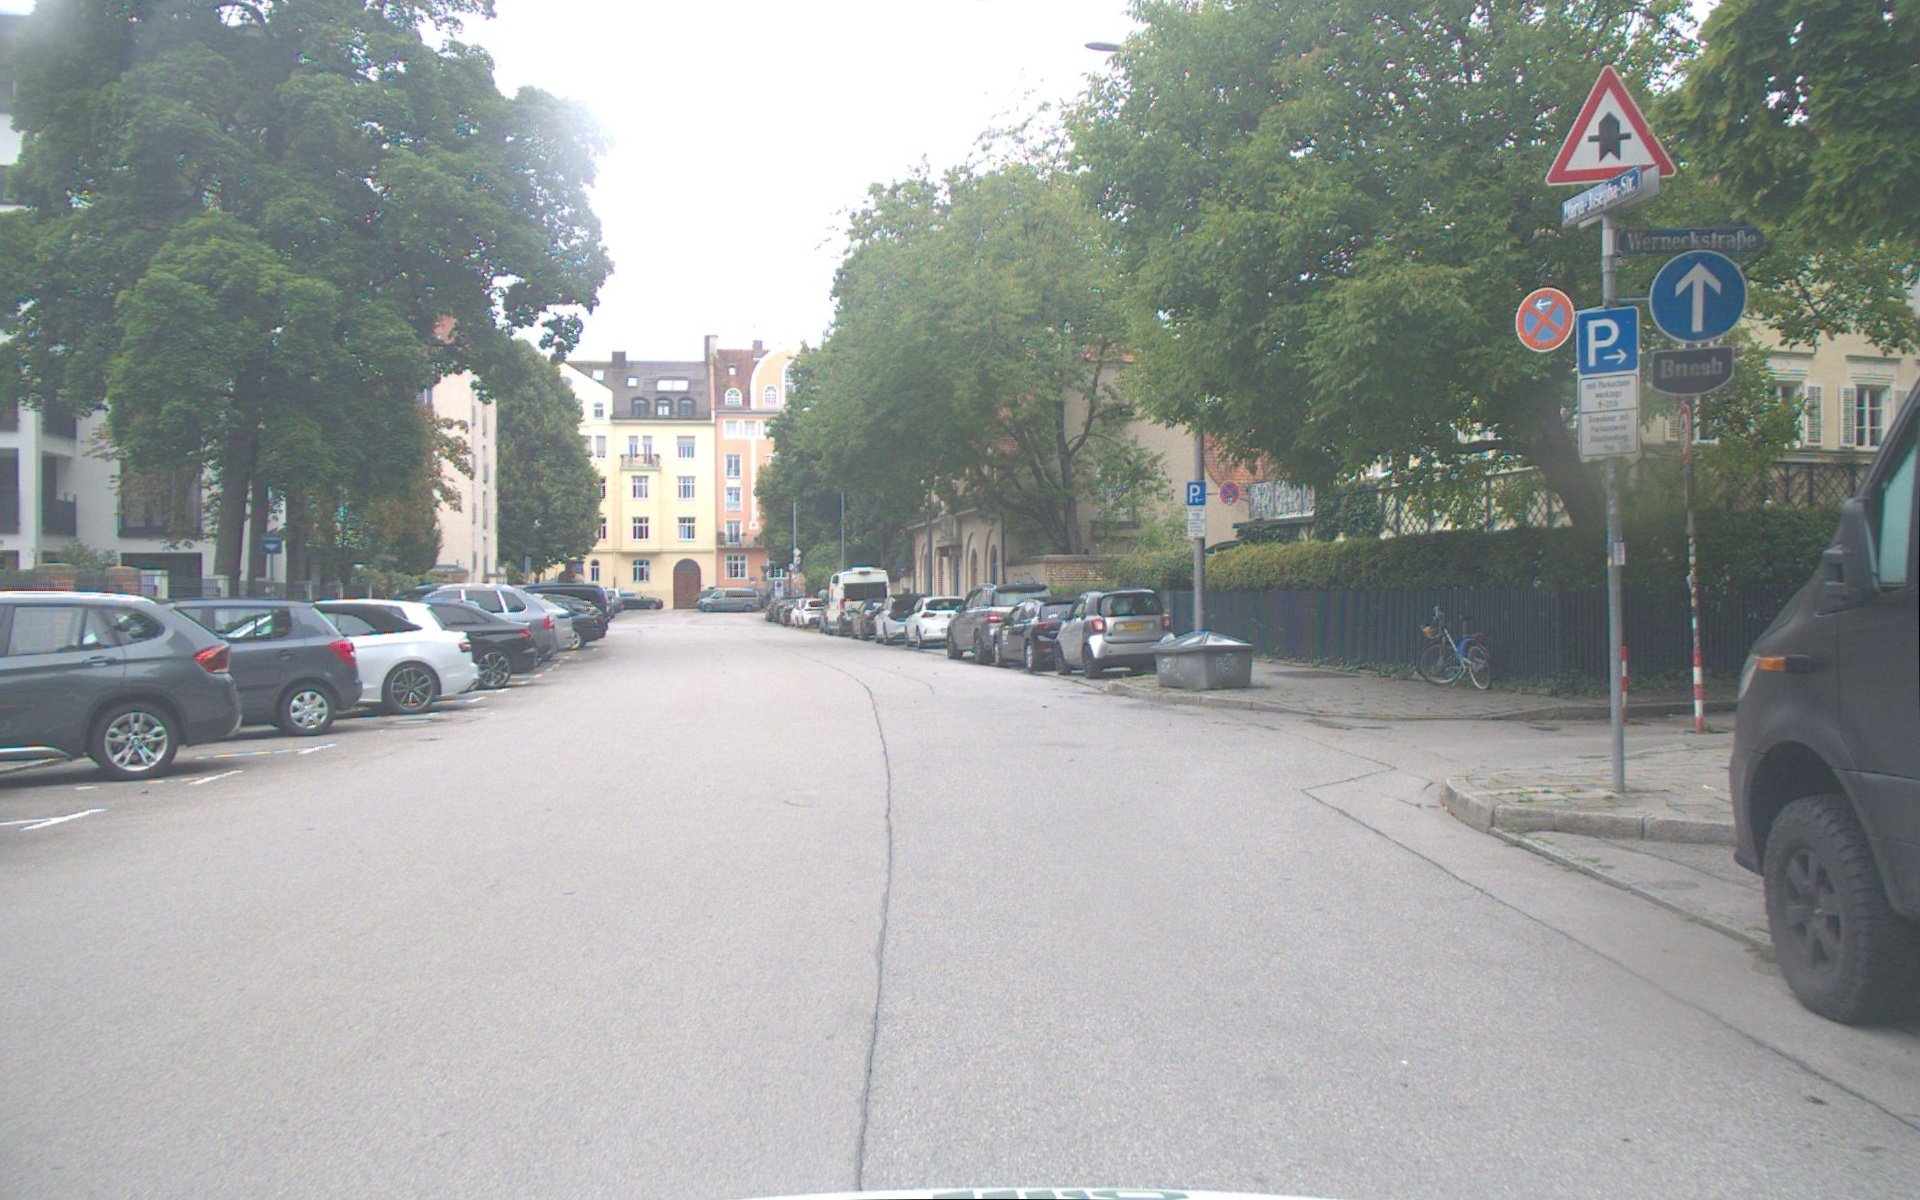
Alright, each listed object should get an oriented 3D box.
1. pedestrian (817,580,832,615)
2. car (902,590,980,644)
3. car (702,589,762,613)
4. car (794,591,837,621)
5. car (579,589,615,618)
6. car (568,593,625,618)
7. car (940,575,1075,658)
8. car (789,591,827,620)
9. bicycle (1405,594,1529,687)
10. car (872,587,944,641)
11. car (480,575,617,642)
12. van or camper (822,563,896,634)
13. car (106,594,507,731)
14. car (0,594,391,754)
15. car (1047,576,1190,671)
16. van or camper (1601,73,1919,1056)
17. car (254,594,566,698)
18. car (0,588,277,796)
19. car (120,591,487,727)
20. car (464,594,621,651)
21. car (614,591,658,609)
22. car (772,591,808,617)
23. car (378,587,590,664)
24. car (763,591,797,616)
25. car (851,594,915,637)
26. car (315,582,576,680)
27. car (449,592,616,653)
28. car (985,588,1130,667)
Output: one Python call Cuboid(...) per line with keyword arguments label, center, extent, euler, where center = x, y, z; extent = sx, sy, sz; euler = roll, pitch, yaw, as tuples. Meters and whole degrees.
Cuboid(label="pedestrian", center=(-7.886, -0.153, 96.227), extent=(0.759, 2.049, 0.561), euler=(0, 0, -11))
Cuboid(label="car", center=(-0.596, 0.480, 47.984), extent=(1.654, 1.466, 3.991), euler=(-2, 0, -10))
Cuboid(label="car", center=(-18.200, 0.069, 131.898), extent=(4.621, 1.913, 1.834), euler=(0, 0, -12))
Cuboid(label="car", center=(-7.296, 0.297, 83.426), extent=(1.677, 1.432, 4.118), euler=(-2, 0, -11))
Cuboid(label="car", center=(-21.629, 0.197, 98.598), extent=(1.801, 1.534, 3.991), euler=(-4, 1, -10))
Cuboid(label="car", center=(-26.406, 0.402, 120.174), extent=(3.916, 1.534, 1.835), euler=(-4, 1, -11))
Cuboid(label="car", center=(1.019, 0.347, 38.551), extent=(1.959, 1.741, 4.869), euler=(-2, 1, -13))
Cuboid(label="car", center=(-8.124, 0.284, 88.286), extent=(1.676, 1.491, 3.829), euler=(-2, 0, -9))
Cuboid(label="bicycle", center=(6.840, 0.517, 22.437), extent=(0.791, 1.182, 1.968), euler=(-1, 1, -10))
Cuboid(label="car", center=(-1.706, 0.430, 52.992), extent=(1.676, 1.564, 4.230), euler=(-3, 1, -10))
Cuboid(label="car", center=(-14.009, 0.272, 56.452), extent=(4.178, 2.102, 1.712), euler=(-3, 1, -40))
Cuboid(label="van or camper", center=(-4.053, -0.069, 65.400), extent=(2.153, 2.594, 5.713), euler=(-2, 0, -11))
Cuboid(label="car", center=(-8.286, 0.729, 21.116), extent=(4.464, 1.476, 1.874), euler=(-2, 0, -35))
Cuboid(label="car", center=(-8.541, 0.733, 17.765), extent=(4.339, 1.476, 1.639), euler=(-2, 1, -32))
Cuboid(label="car", center=(2.823, 0.416, 29.977), extent=(1.709, 1.563, 2.936), euler=(-2, 0, -13))
Cuboid(label="van or camper", center=(4.040, -0.102, 3.660), extent=(2.226, 2.957, 7.274), euler=(-1, 0, -2))
Cuboid(label="car", center=(-8.786, 0.688, 26.600), extent=(4.374, 1.464, 1.936), euler=(-1, 0, -41))
Cuboid(label="car", center=(-8.195, 0.748, 13.678), extent=(4.470, 1.595, 1.869), euler=(-1, 0, -33))
Cuboid(label="car", center=(-9.205, 0.765, 23.331), extent=(4.465, 1.536, 1.908), euler=(-4, 1, -35))
Cuboid(label="car", center=(-12.364, 0.640, 49.041), extent=(4.163, 1.487, 1.718), euler=(-2, 1, -32))
Cuboid(label="car", center=(-29.864, 0.024, 152.533), extent=(3.914, 1.614, 1.700), euler=(-1, 0, -10))
Cuboid(label="car", center=(-10.081, 0.197, 97.789), extent=(1.641, 1.367, 3.825), euler=(-2, 2, -13))
Cuboid(label="car", center=(-11.053, 0.563, 38.437), extent=(4.355, 1.649, 2.064), euler=(-1, 0, -32))
Cuboid(label="car", center=(-11.182, 0.180, 102.579), extent=(1.641, 1.367, 3.825), euler=(-2, 2, -13))
Cuboid(label="car", center=(-2.770, 0.532, 58.673), extent=(1.676, 1.393, 4.430), euler=(-2, 0, -10))
Cuboid(label="car", center=(-9.942, 0.565, 32.148), extent=(4.377, 1.728, 2.103), euler=(-1, 0, -43))
Cuboid(label="car", center=(-11.927, 0.609, 46.302), extent=(4.181, 1.487, 1.711), euler=(-3, 1, -41))
Cuboid(label="car", center=(1.920, 0.522, 34.008), extent=(1.845, 1.452, 4.208), euler=(-2, 1, -13))
